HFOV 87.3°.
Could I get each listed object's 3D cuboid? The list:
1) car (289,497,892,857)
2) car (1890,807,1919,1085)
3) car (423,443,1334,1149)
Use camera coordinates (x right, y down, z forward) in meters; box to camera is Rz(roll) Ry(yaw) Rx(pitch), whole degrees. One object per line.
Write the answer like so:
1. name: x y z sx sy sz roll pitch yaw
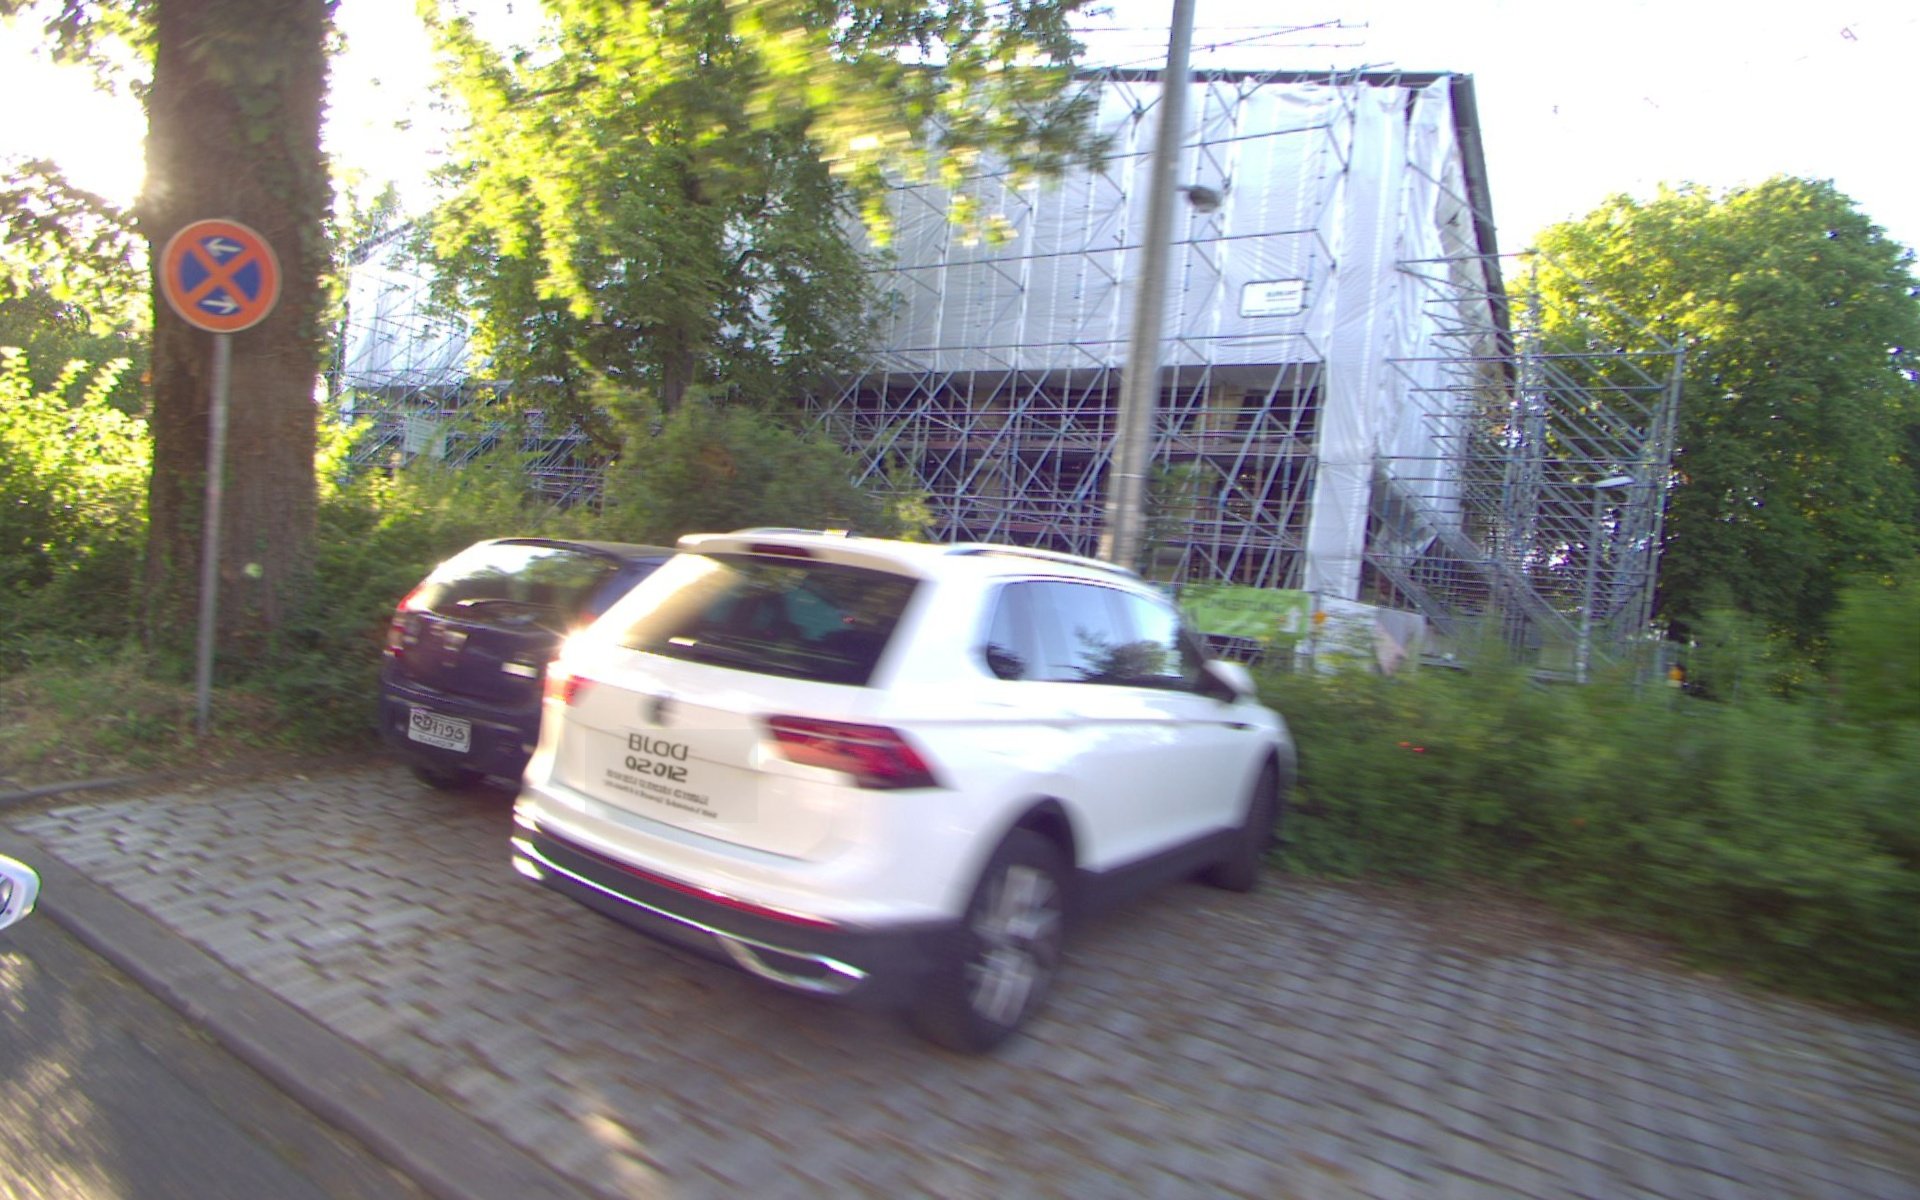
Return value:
1. car: -1.976 0.416 6.287 1.654 1.511 3.201 7 -1 24
2. car: 3.912 1.102 2.290 1.694 1.687 4.128 7 -1 32
3. car: 0.140 0.576 4.691 1.838 1.730 4.172 7 -1 36
